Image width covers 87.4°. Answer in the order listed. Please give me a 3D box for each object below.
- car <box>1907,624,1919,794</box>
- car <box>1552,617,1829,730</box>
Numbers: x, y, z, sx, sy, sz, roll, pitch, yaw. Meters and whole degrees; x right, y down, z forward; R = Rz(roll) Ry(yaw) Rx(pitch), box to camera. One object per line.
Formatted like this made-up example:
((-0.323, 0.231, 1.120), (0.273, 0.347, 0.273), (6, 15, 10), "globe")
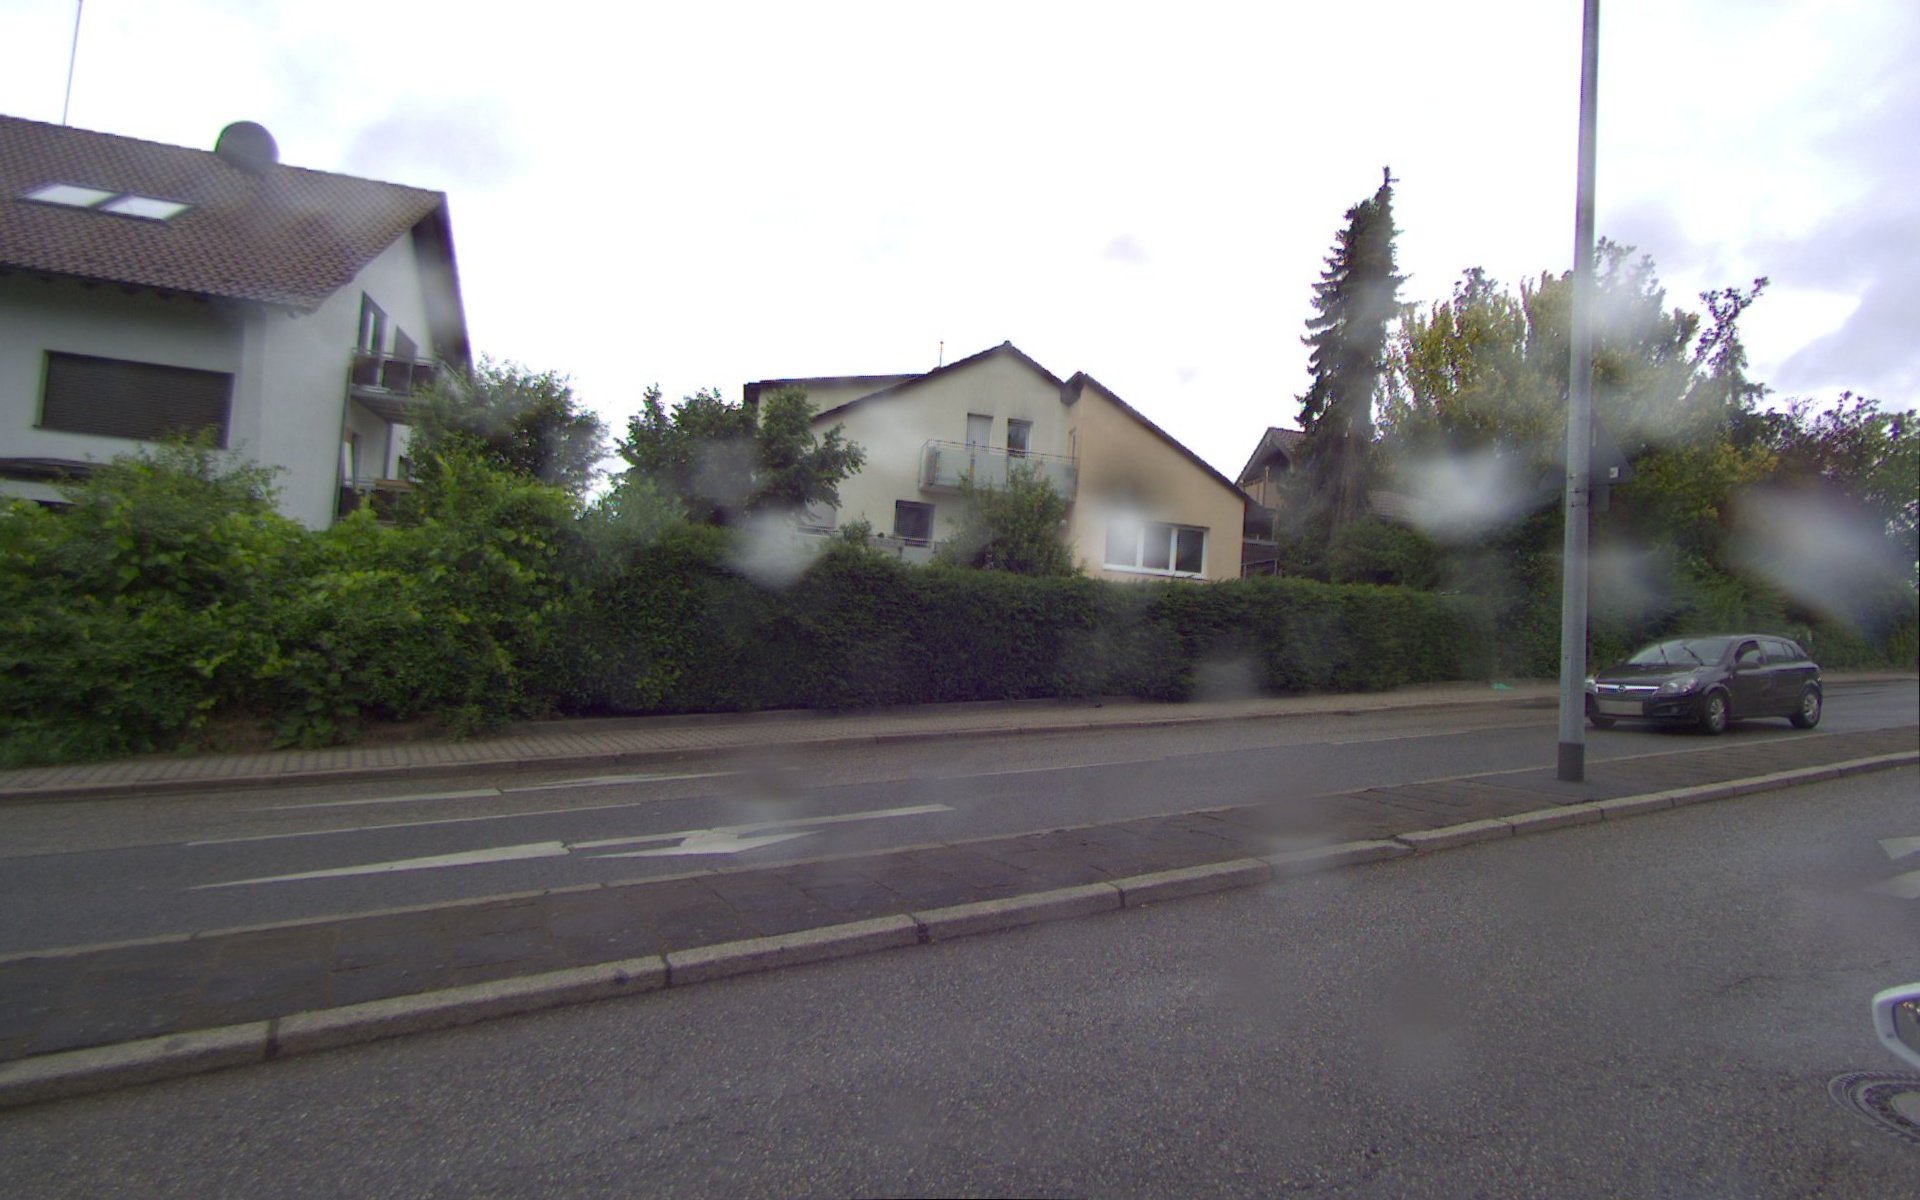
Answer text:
((11.053, 1.003, 9.424), (4.276, 1.547, 1.985), (2, -3, -30), "car")
((11.199, 1.068, 15.382), (3.950, 1.529, 1.888), (1, -3, -28), "car")
